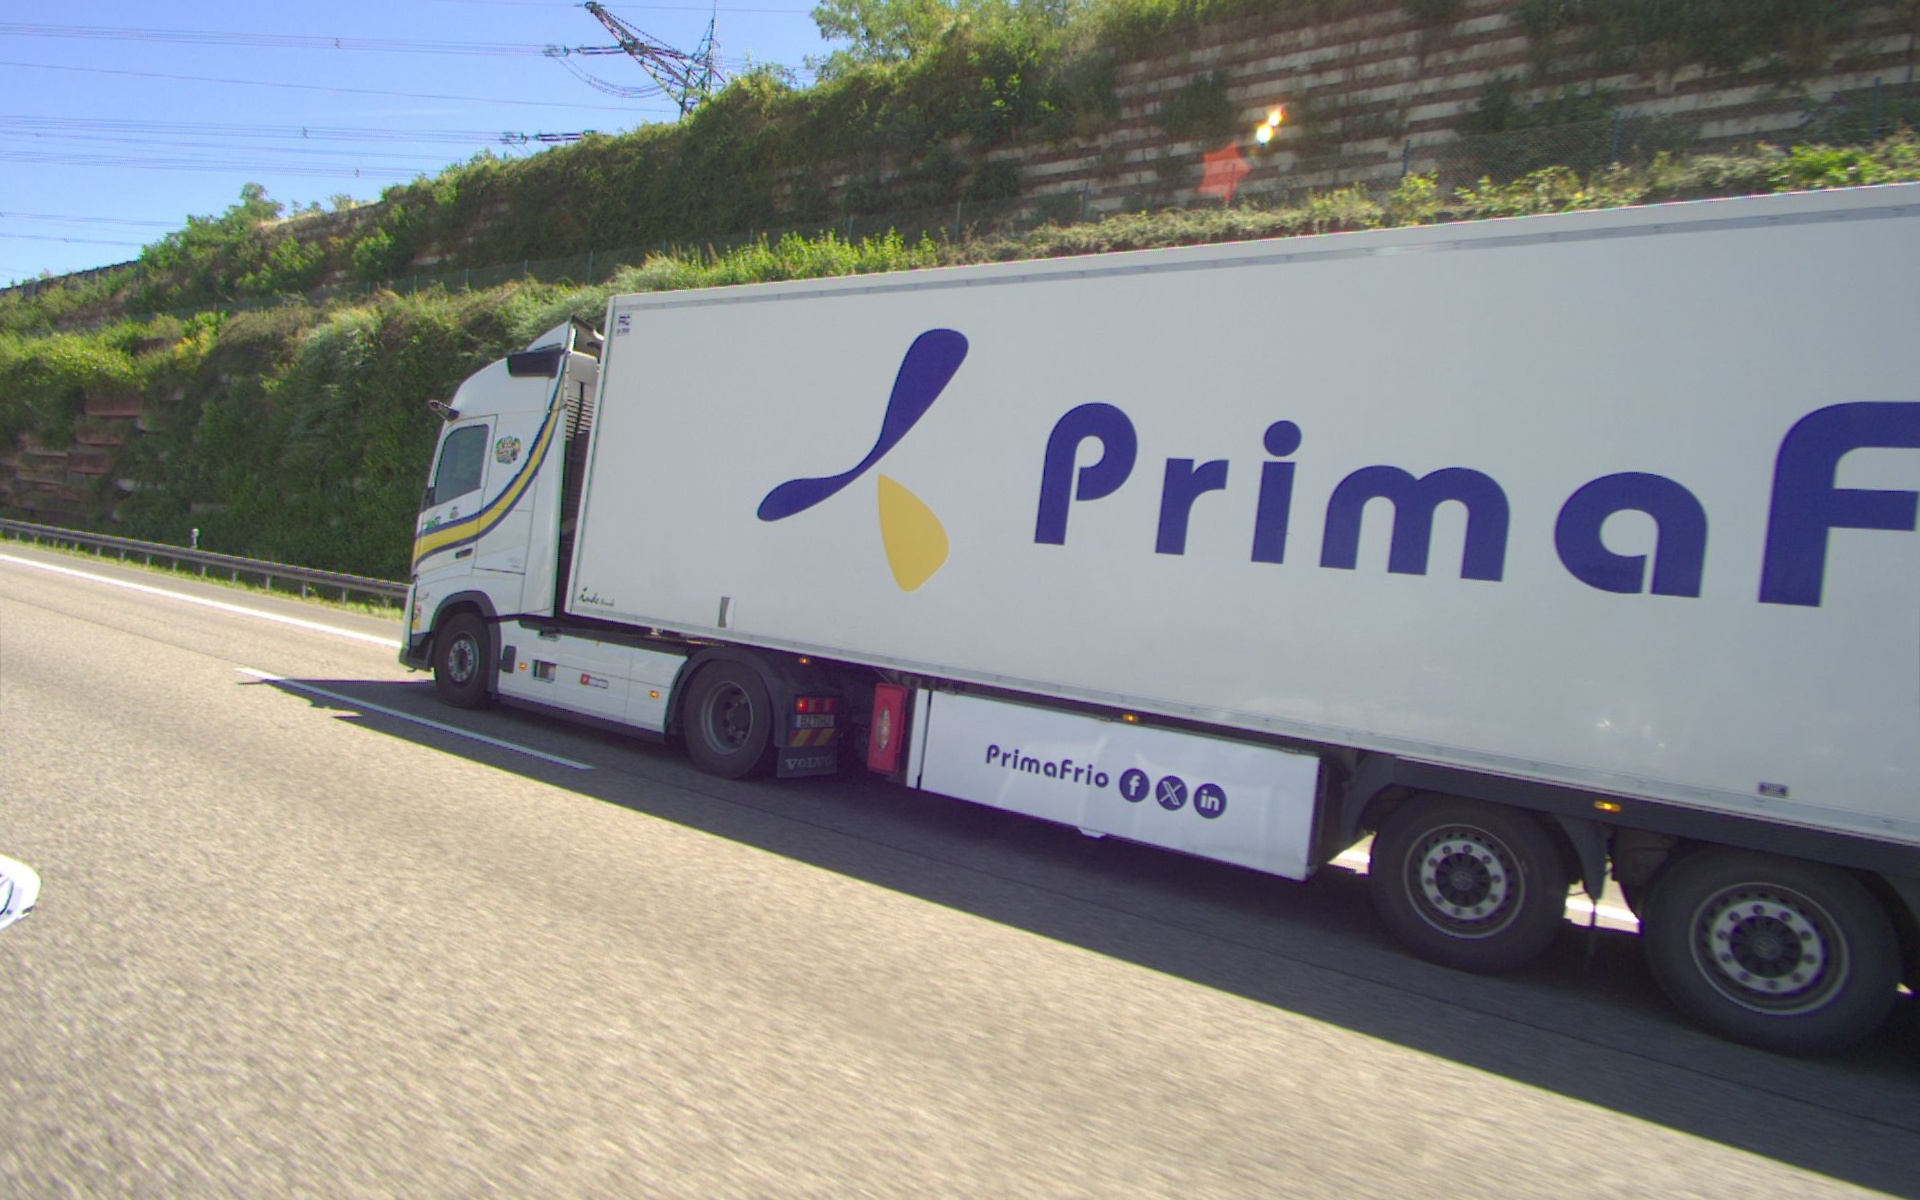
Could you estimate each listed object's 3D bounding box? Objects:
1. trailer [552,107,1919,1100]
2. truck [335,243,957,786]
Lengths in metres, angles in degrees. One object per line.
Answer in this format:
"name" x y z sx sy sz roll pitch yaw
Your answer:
"trailer" 4.233 0.008 5.748 16.746 4.264 2.517 7 0 32
"truck" -3.495 -0.849 10.597 6.153 4.272 2.510 6 0 32
